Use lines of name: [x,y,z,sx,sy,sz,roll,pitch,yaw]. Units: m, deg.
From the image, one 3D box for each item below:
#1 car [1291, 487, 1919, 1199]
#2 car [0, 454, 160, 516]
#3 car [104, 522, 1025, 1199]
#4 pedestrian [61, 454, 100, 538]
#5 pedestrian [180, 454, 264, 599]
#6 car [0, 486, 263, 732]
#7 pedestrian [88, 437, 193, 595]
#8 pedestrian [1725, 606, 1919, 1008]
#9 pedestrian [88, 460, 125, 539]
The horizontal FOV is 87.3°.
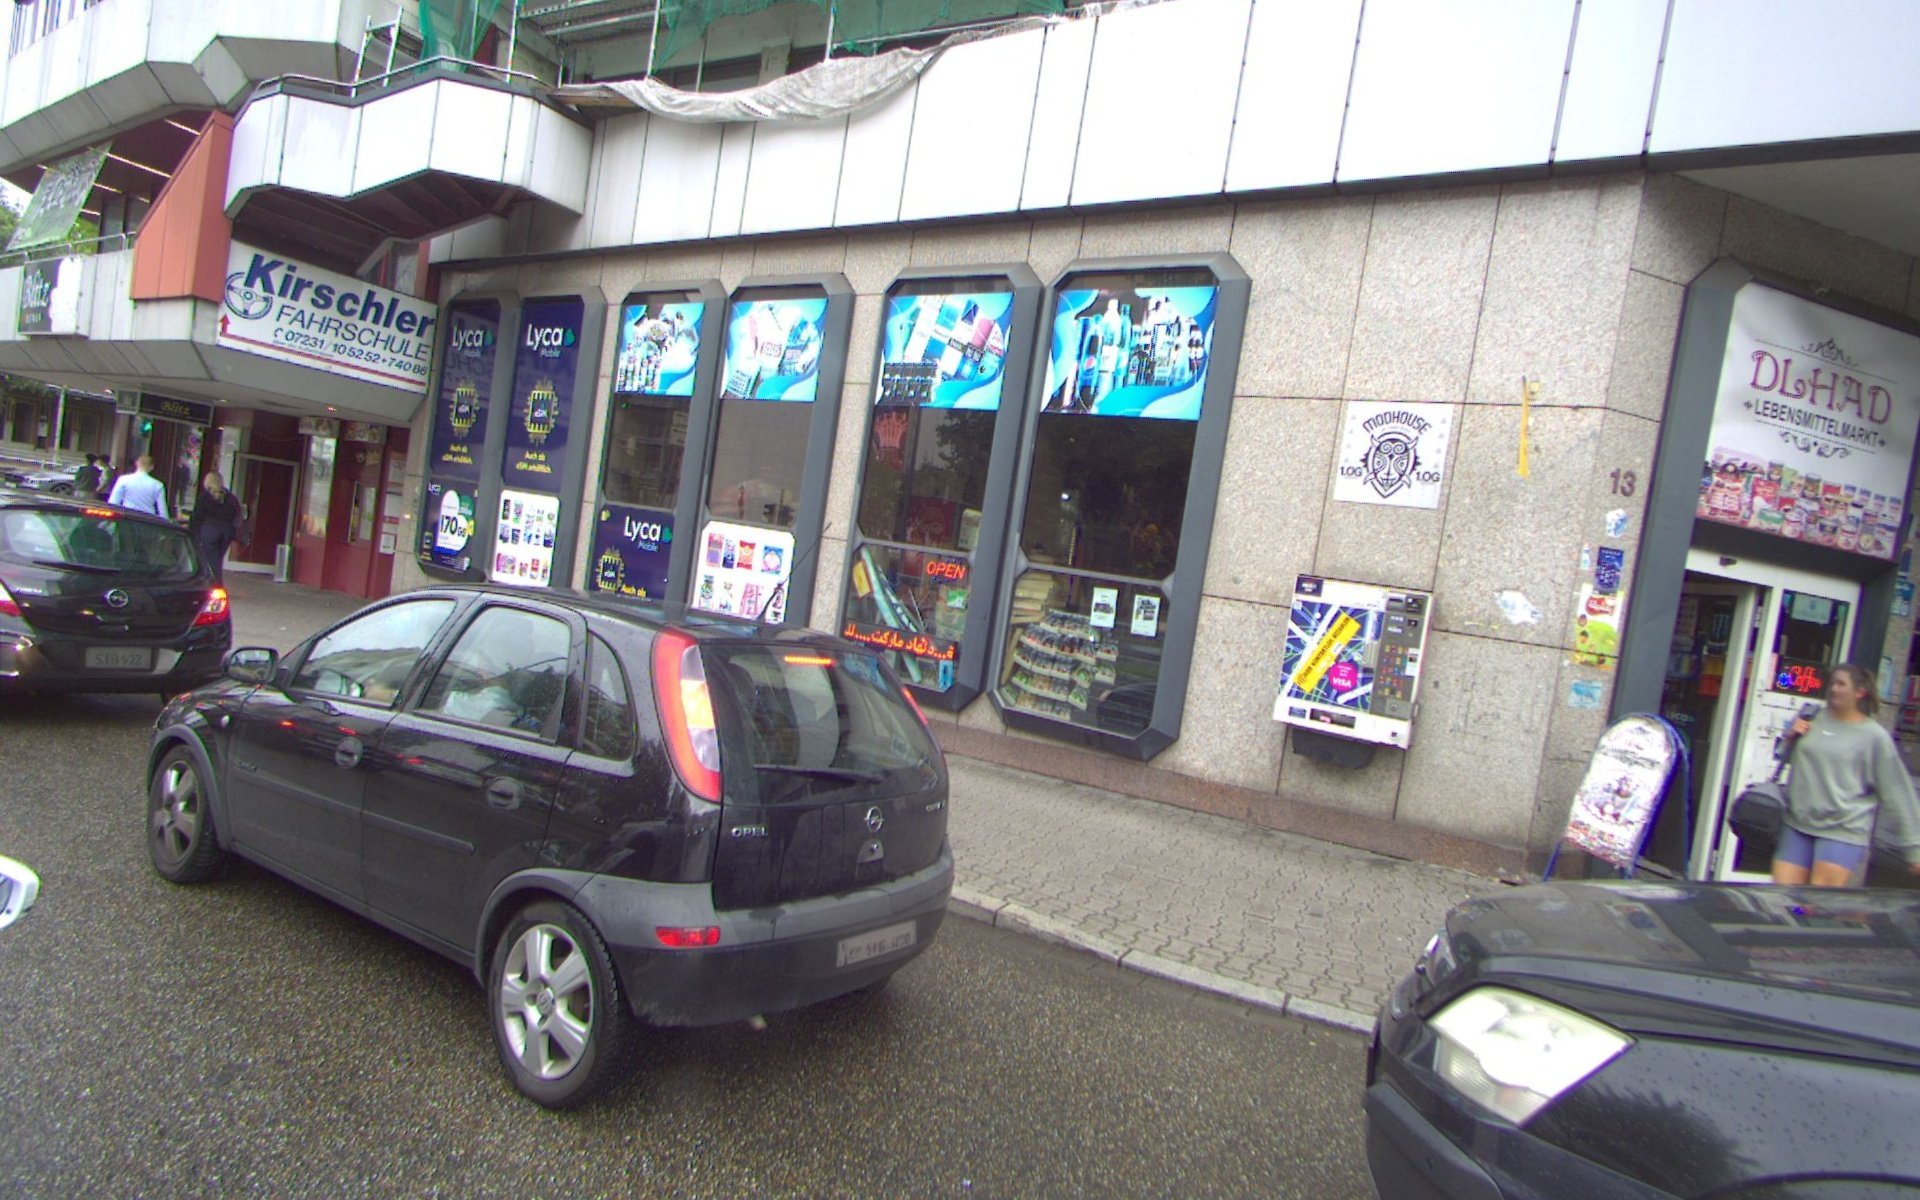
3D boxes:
car: [2.799,1.005,1.438,4.094,1.786,1.763,8,-1,31]
car: [-28.150,-3.635,32.102,1.808,1.226,3.690,5,-3,36]
car: [-1.754,0.649,4.118,3.563,1.446,1.609,8,-1,33]
pedestrian: [-18.637,-2.200,21.318,0.443,1.704,0.426,6,1,30]
pedestrian: [-10.397,-1.015,14.176,0.629,1.961,0.736,6,4,31]
car: [-7.068,-0.105,7.353,3.776,1.446,1.620,8,-1,29]
pedestrian: [-10.879,-1.106,13.358,0.629,1.957,0.737,6,-1,31]
pedestrian: [4.548,0.985,5.216,0.733,1.841,0.769,7,4,40]
pedestrian: [-18.649,-2.184,21.983,0.496,1.660,0.396,6,1,32]
